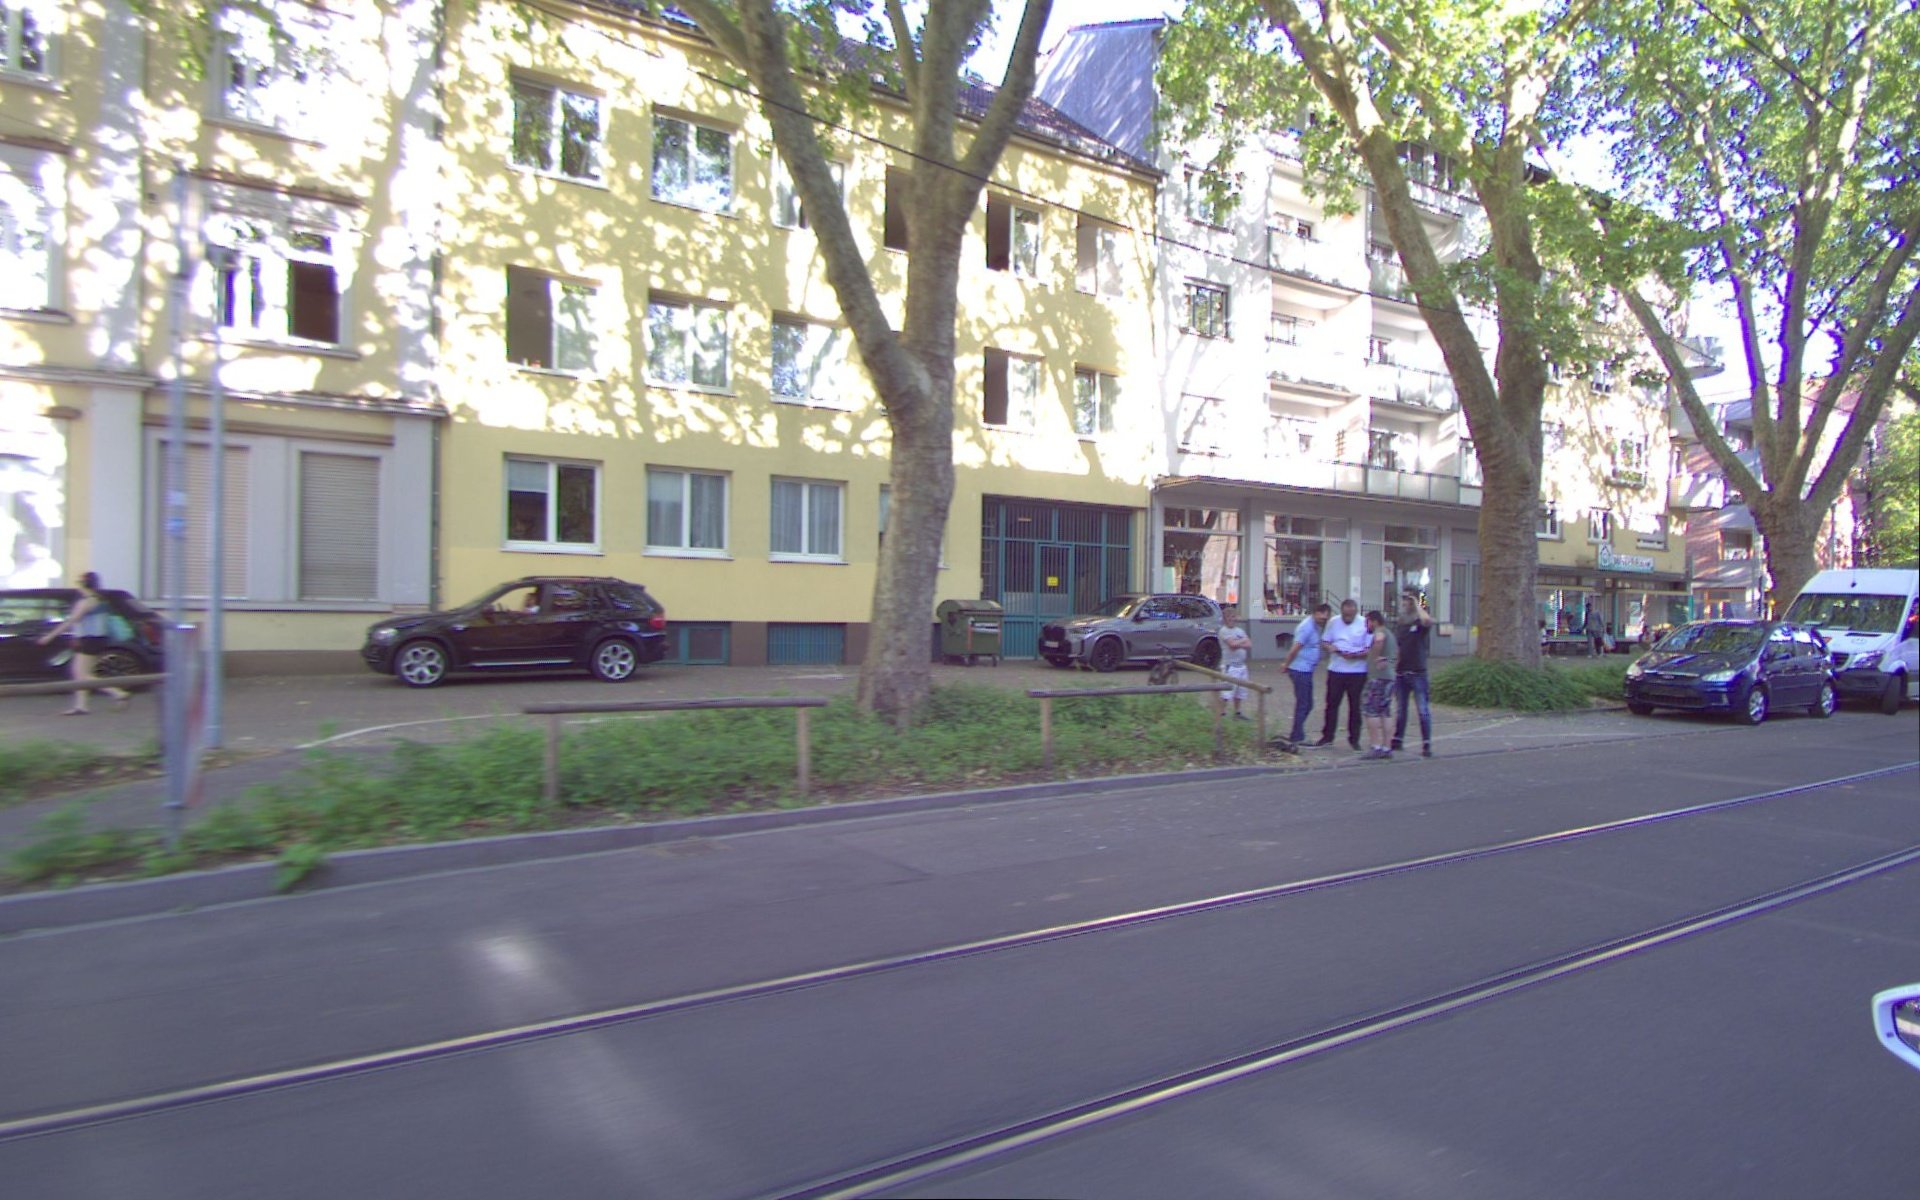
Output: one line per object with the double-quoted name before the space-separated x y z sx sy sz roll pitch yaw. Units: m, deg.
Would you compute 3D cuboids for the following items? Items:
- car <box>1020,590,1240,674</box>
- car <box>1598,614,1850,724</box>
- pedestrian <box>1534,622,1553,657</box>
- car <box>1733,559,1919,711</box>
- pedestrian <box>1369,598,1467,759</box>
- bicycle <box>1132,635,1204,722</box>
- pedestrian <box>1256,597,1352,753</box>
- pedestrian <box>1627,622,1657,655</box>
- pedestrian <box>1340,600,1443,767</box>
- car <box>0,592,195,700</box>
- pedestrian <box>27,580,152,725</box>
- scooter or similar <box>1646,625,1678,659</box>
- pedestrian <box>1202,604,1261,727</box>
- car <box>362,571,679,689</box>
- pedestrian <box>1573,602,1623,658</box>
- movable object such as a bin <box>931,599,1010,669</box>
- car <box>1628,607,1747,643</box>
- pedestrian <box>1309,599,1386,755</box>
"car" 3.967 0.731 23.261 4.839 1.756 1.985 2 0 -29
"car" 12.784 1.089 16.767 4.234 1.582 1.907 2 0 -31
"pedestrian" 19.476 1.312 33.533 0.434 1.120 0.416 1 0 -39
"car" 17.793 0.666 19.584 5.950 2.612 2.099 2 0 -29
"pedestrian" 5.349 0.891 11.744 0.762 1.800 0.708 1 0 -30
"bicycle" 2.952 1.090 14.422 0.558 1.094 1.851 1 0 -2
"pedestrian" 4.057 0.857 11.854 0.709 1.758 0.764 1 0 -31
"pedestrian" 25.398 1.421 37.402 0.662 1.182 0.644 1 0 -3
"pedestrian" 4.774 0.890 11.123 0.707 1.758 0.763 1 0 -36
"car" -13.174 0.598 13.873 3.956 1.406 1.769 2 0 -32
"pedestrian" -10.465 0.611 12.116 0.999 1.659 0.707 1 0 -33
"scooter or similar" 25.532 1.517 36.535 0.662 1.182 0.644 1 0 -3
"pedestrian" 3.724 0.877 13.830 0.699 1.631 0.771 1 0 12
"car" -7.342 0.504 17.019 4.637 1.760 1.985 2 0 -28
"pedestrian" 22.206 1.031 34.956 1.047 1.889 1.100 1 0 -33
"movable object such as a bin" 0.225 0.766 22.789 1.328 1.522 1.224 2 0 -30
"car" 36.389 1.242 50.324 1.981 1.475 4.398 1 2 -37
"pedestrian" 4.558 0.882 11.862 0.699 1.758 0.771 1 0 12
